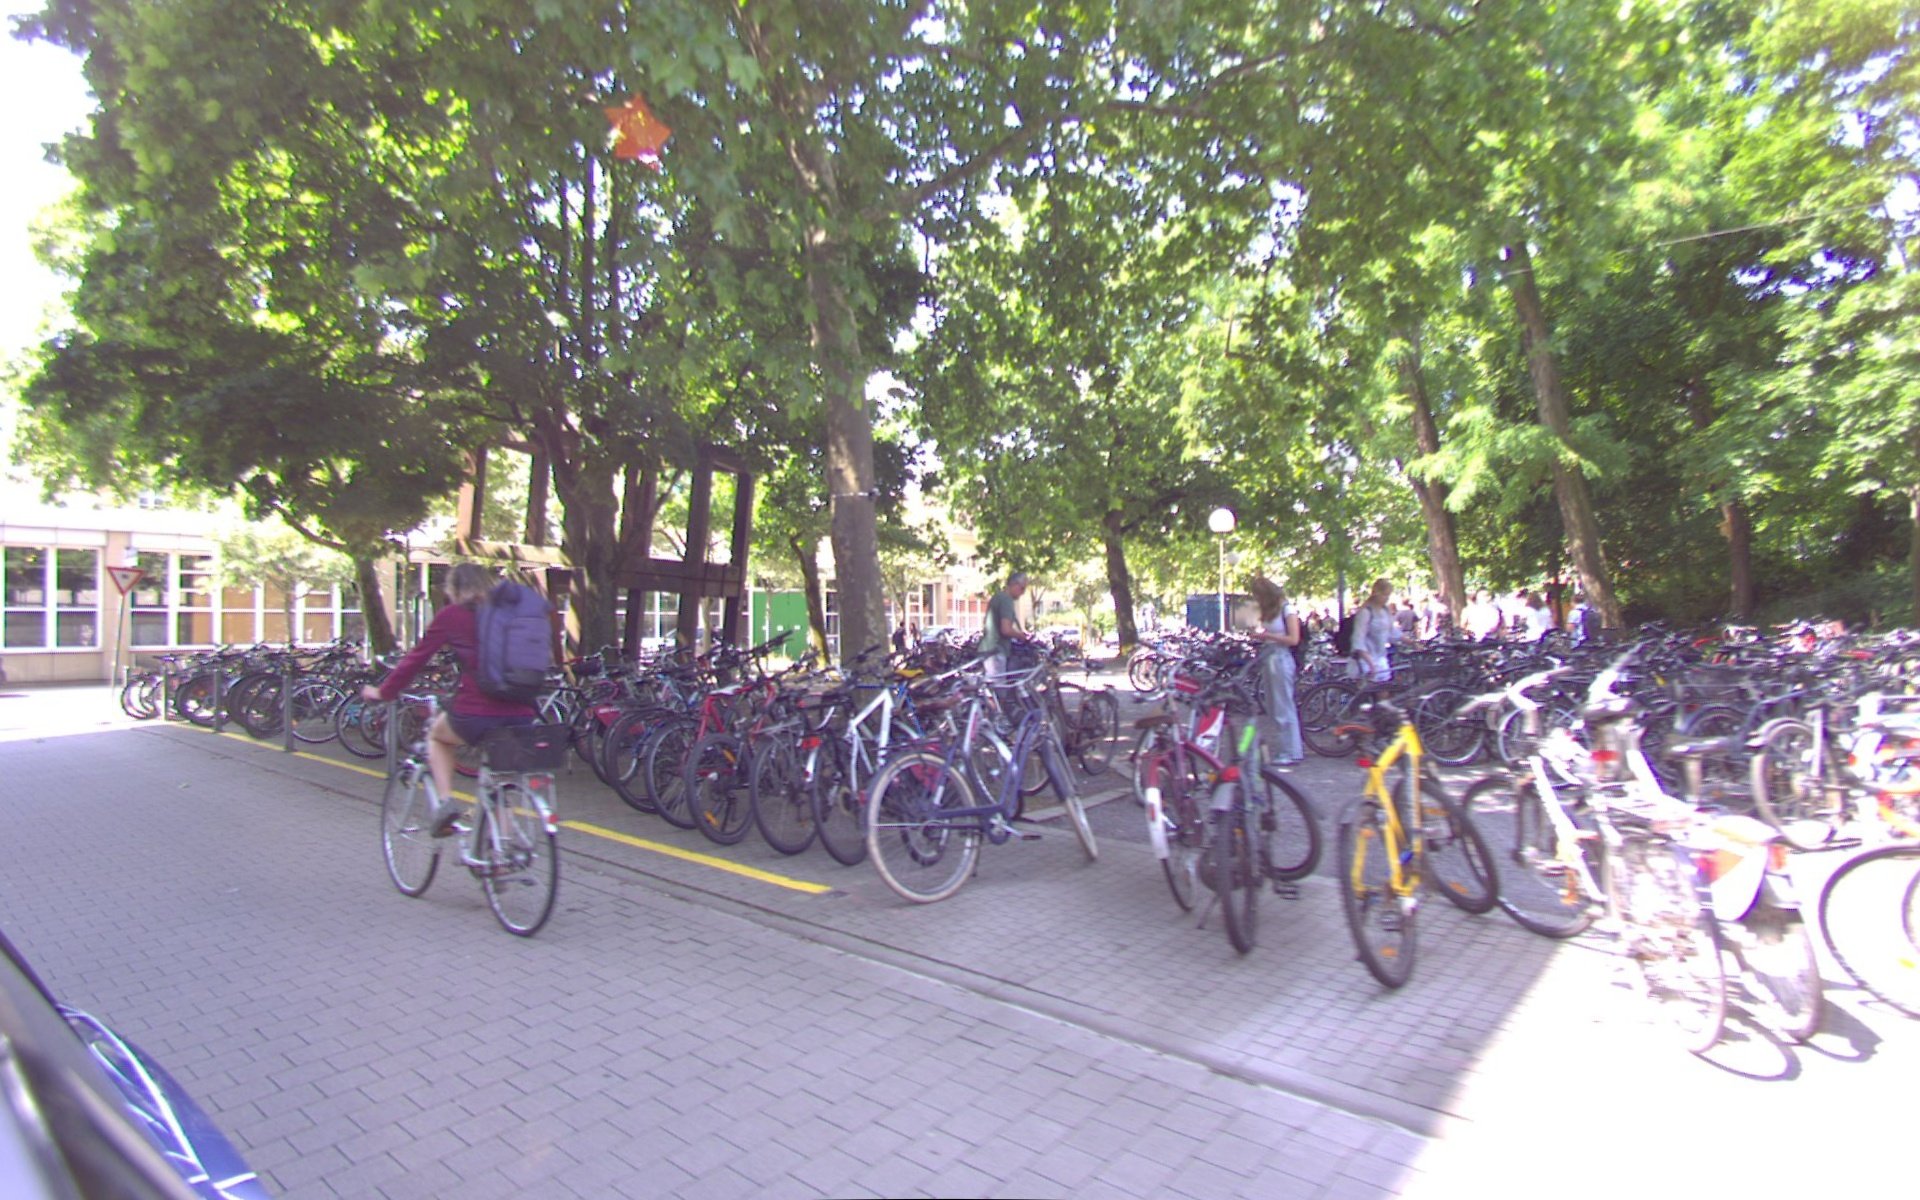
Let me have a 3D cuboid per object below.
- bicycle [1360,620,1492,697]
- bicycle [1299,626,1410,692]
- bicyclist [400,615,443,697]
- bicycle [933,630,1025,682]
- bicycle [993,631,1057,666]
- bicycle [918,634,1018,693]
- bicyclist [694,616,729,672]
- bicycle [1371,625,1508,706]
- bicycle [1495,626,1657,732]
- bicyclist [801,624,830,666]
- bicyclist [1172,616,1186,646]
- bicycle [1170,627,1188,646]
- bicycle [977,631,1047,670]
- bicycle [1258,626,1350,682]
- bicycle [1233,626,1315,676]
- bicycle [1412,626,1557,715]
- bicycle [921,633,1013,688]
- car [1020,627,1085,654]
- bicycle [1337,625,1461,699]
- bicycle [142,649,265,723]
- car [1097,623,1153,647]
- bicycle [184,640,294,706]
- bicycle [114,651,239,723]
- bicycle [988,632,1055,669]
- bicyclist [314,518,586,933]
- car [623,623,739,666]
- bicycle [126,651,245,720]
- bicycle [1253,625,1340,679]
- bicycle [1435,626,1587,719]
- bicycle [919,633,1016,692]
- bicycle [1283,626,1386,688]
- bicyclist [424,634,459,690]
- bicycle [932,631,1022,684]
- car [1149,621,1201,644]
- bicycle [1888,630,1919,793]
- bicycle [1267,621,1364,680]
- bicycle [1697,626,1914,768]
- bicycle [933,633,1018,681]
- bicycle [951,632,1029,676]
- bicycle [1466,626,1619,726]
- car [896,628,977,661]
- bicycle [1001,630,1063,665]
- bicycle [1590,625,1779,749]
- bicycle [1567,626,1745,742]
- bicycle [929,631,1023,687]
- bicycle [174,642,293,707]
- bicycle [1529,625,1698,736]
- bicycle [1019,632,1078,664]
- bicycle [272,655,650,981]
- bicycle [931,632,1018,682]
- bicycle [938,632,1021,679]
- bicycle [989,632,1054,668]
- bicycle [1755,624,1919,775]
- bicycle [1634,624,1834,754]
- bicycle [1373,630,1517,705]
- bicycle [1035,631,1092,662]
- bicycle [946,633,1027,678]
[{"bbox_3d":[6.834,0.854,14.892,1.677,1.092,0.474,-1,-1,2],"label":"bicycle"},{"bbox_3d":[6.771,1.008,17.404,1.677,1.092,0.474,-1,-1,2],"label":"bicycle"},{"bbox_3d":[-13.082,1.347,24.589,0.852,1.906,0.808,1,1,-25],"label":"bicyclist"},{"bbox_3d":[0.428,1.259,22.664,1.984,1.116,0.501,-1,-1,11],"label":"bicycle"},{"bbox_3d":[2.098,1.568,32.766,2.011,1.116,0.500,-1,-1,15],"label":"bicycle"},{"bbox_3d":[0.165,1.234,19.723,1.884,1.116,0.501,-1,-1,8],"label":"bicycle"},{"bbox_3d":[-8.778,1.544,35.757,0.675,1.902,0.956,0,1,42],"label":"bicyclist"},{"bbox_3d":[6.765,0.925,14.316,1.677,1.092,0.474,-1,-1,2],"label":"bicycle"},{"bbox_3d":[6.870,0.858,11.291,1.671,1.092,0.475,-1,-1,-14],"label":"bicycle"},{"bbox_3d":[-5.545,1.719,38.824,0.640,1.585,0.864,0,-1,37],"label":"bicyclist"},{"bbox_3d":[13.682,1.932,63.332,0.601,1.815,0.891,-3,-3,26],"label":"bicyclist"},{"bbox_3d":[13.711,2.278,63.339,0.601,1.116,2.054,-3,-3,25],"label":"bicycle"},{"bbox_3d":[1.546,1.502,30.231,2.011,1.116,0.500,-1,-1,15],"label":"bicycle"},{"bbox_3d":[7.000,1.097,20.611,1.677,1.092,0.474,-1,-1,2],"label":"bicycle"},{"bbox_3d":[7.124,1.156,22.987,1.677,1.092,0.474,-1,-1,2],"label":"bicycle"},{"bbox_3d":[6.842,0.905,13.218,1.673,1.092,0.475,-1,-1,-6],"label":"bicycle"},{"bbox_3d":[0.153,1.286,21.517,1.886,1.116,0.501,-1,-1,11],"label":"bicycle"},{"bbox_3d":[5.752,2.479,62.508,1.836,1.553,4.479,-3,-3,39],"label":"car"},{"bbox_3d":[6.807,0.957,15.723,1.677,1.092,0.474,-1,-1,2],"label":"bicycle"},{"bbox_3d":[-12.463,1.396,16.706,1.603,1.116,0.498,0,-4,-37],"label":"bicycle"},{"bbox_3d":[11.310,2.376,69.161,1.836,1.553,4.479,-3,-3,39],"label":"car"},{"bbox_3d":[-13.855,1.394,19.490,1.601,1.168,0.641,-1,-3,-20],"label":"bicycle"},{"bbox_3d":[-13.183,1.442,17.059,0.497,1.116,1.607,-5,-4,40],"label":"bicycle"},{"bbox_3d":[1.912,1.569,31.316,2.011,1.116,0.500,-1,-1,15],"label":"bicycle"},{"bbox_3d":[-2.404,0.514,4.777,0.910,1.728,0.764,-1,2,39],"label":"bicyclist"},{"bbox_3d":[-11.609,1.816,42.421,1.836,1.630,4.479,0,-1,39],"label":"car"},{"bbox_3d":[-13.659,1.483,17.876,0.497,1.116,1.607,-5,-4,40],"label":"bicycle"},{"bbox_3d":[7.159,1.107,21.572,1.677,1.092,0.474,-1,-1,2],"label":"bicycle"},{"bbox_3d":[6.902,0.892,12.692,1.673,1.092,0.475,-1,-1,-6],"label":"bicycle"},{"bbox_3d":[0.161,1.248,20.270,1.884,1.116,0.501,-1,-1,8],"label":"bicycle"},{"bbox_3d":[6.799,1.031,18.414,1.677,1.092,0.474,-1,-1,2],"label":"bicycle"},{"bbox_3d":[-14.783,1.757,28.843,0.605,1.546,0.717,0,-1,43],"label":"bicyclist"},{"bbox_3d":[0.372,1.252,22.125,1.886,1.116,0.501,-1,-1,11],"label":"bicycle"},{"bbox_3d":[15.561,2.352,73.088,1.836,1.553,4.479,-3,-3,39],"label":"car"},{"bbox_3d":[7.293,0.741,6.955,1.671,1.092,0.475,-1,-1,-14],"label":"bicycle"},{"bbox_3d":[6.875,0.974,19.612,1.677,1.092,0.474,-1,-1,2],"label":"bicycle"},{"bbox_3d":[7.110,0.789,8.516,1.671,1.092,0.475,-1,-1,-14],"label":"bicycle"},{"bbox_3d":[0.371,1.374,24.551,1.984,1.116,0.501,-1,-1,11],"label":"bicycle"},{"bbox_3d":[0.785,1.430,26.783,2.007,1.116,0.501,-1,-1,9],"label":"bicycle"},{"bbox_3d":[6.860,0.873,11.923,1.671,1.092,0.475,-1,-1,-14],"label":"bicycle"},{"bbox_3d":[-1.215,2.368,54.092,1.836,1.646,4.479,-3,-3,39],"label":"car"},{"bbox_3d":[2.396,1.573,33.703,2.011,1.116,0.500,-1,-1,15],"label":"bicycle"},{"bbox_3d":[6.947,0.811,9.710,1.671,1.092,0.475,-1,-1,-14],"label":"bicycle"},{"bbox_3d":[7.075,0.828,10.292,1.671,1.092,0.475,-1,-1,-14],"label":"bicycle"},{"bbox_3d":[0.335,1.225,20.930,1.886,1.116,0.501,-1,-1,11],"label":"bicycle"},{"bbox_3d":[-13.537,1.375,18.903,1.716,1.116,0.592,-1,-3,-21],"label":"bicycle"},{"bbox_3d":[6.978,0.839,10.810,1.671,1.092,0.475,-1,-1,-14],"label":"bicycle"},{"bbox_3d":[3.129,1.691,35.717,2.011,1.116,0.500,-1,-1,15],"label":"bicycle"},{"bbox_3d":[-2.458,0.890,4.851,2.106,1.159,0.764,-1,2,39],"label":"bicycle"},{"bbox_3d":[0.339,1.341,23.789,1.984,1.116,0.501,-1,-1,11],"label":"bicycle"},{"bbox_3d":[0.489,1.379,25.134,1.984,1.116,0.501,-1,-1,11],"label":"bicycle"},{"bbox_3d":[1.951,1.581,32.154,2.011,1.116,0.500,-1,-1,15],"label":"bicycle"},{"bbox_3d":[7.228,0.758,8.037,1.671,1.092,0.475,-1,-1,-14],"label":"bicycle"},{"bbox_3d":[7.047,0.786,9.223,1.671,1.092,0.475,-1,-1,-14],"label":"bicycle"},{"bbox_3d":[6.623,0.922,13.860,1.717,0.969,0.452,-1,-1,2],"label":"bicycle"},{"bbox_3d":[3.806,1.709,37.347,2.017,1.116,0.499,-1,-1,23],"label":"bicycle"},{"bbox_3d":[0.684,1.427,26.072,2.007,1.116,0.501,-1,-1,9],"label":"bicycle"}]
